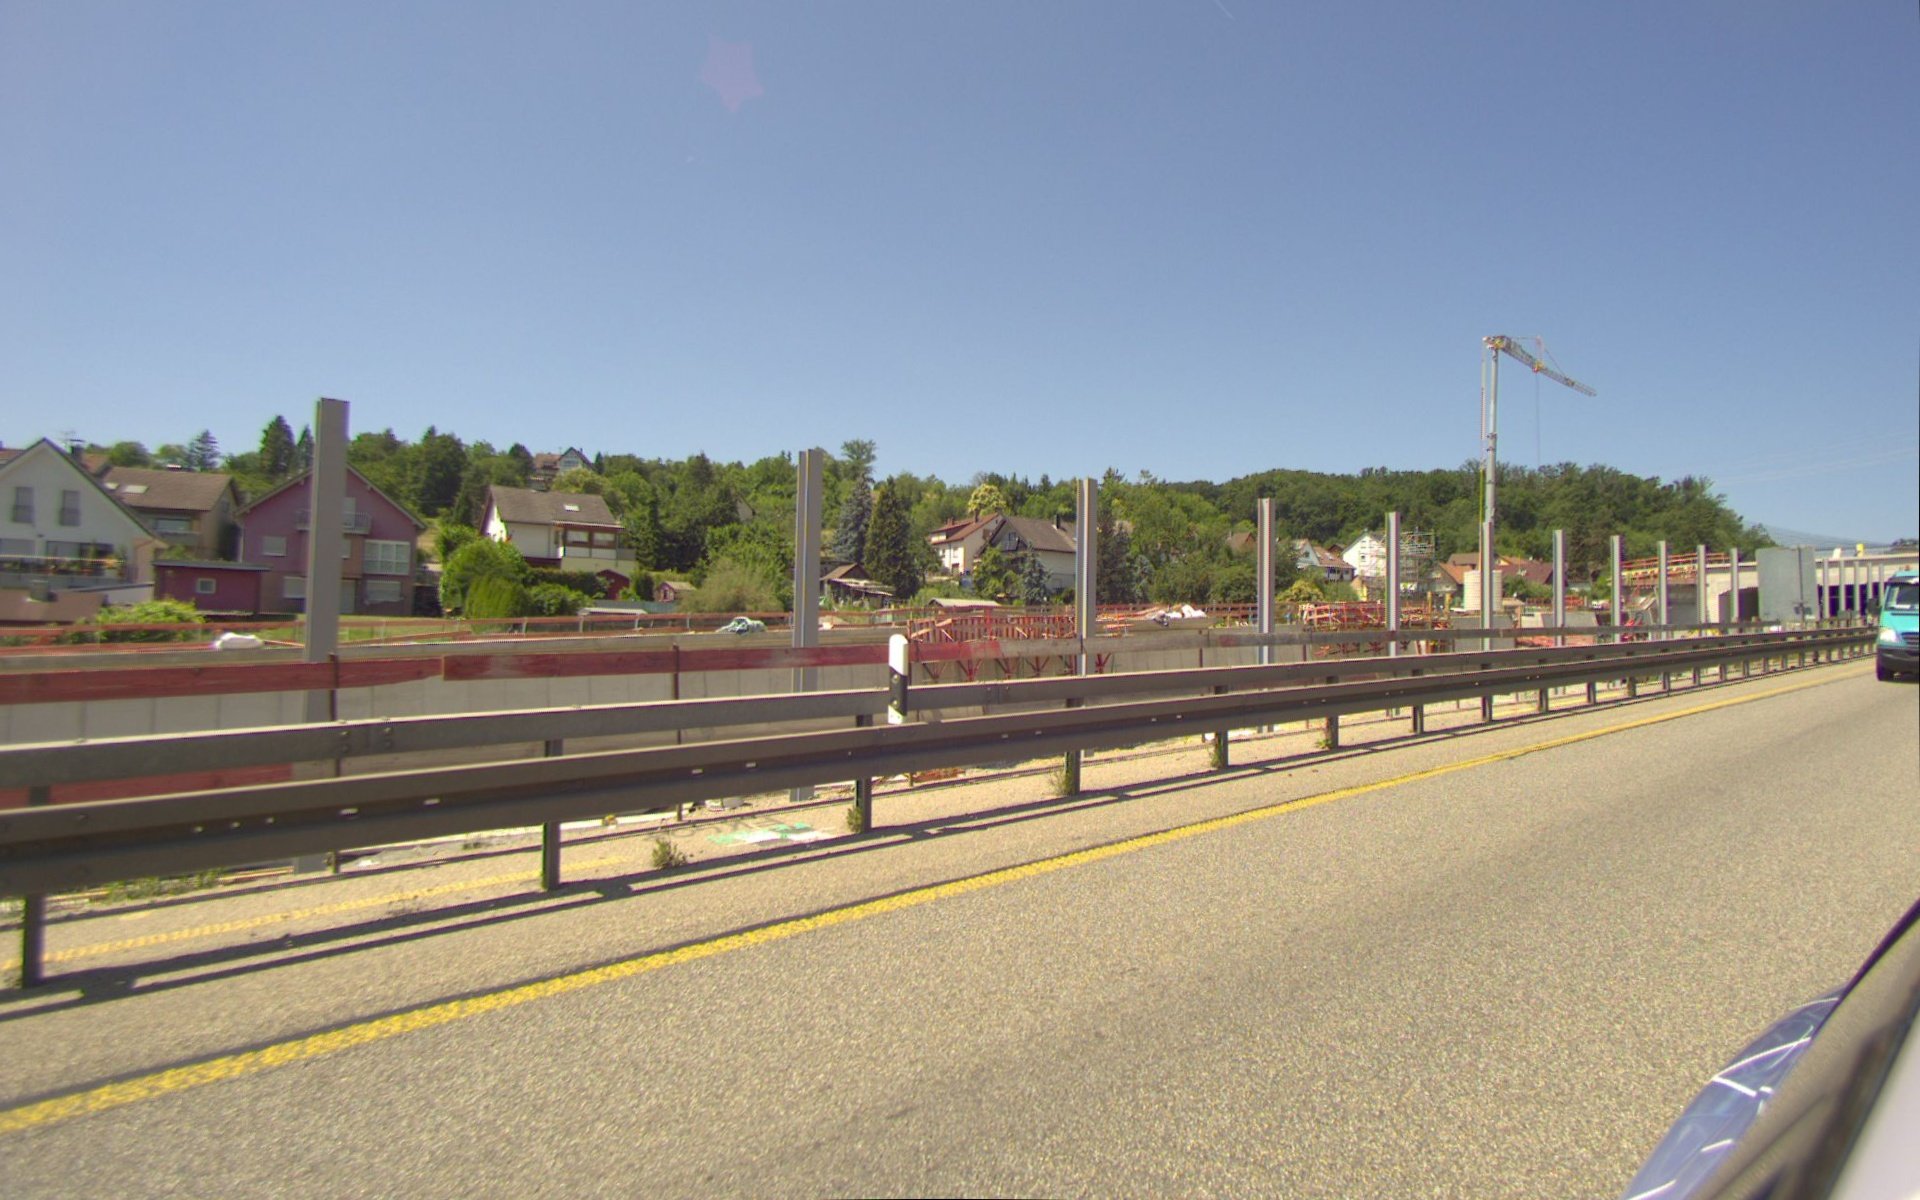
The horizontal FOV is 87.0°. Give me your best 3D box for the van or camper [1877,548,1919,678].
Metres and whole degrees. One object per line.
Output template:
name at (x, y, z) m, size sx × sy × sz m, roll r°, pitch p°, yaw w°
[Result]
van or camper at (21.662, 0.258, 21.672) m, size 7.536 × 2.504 × 2.096 m, roll 0°, pitch 0°, yaw -41°
